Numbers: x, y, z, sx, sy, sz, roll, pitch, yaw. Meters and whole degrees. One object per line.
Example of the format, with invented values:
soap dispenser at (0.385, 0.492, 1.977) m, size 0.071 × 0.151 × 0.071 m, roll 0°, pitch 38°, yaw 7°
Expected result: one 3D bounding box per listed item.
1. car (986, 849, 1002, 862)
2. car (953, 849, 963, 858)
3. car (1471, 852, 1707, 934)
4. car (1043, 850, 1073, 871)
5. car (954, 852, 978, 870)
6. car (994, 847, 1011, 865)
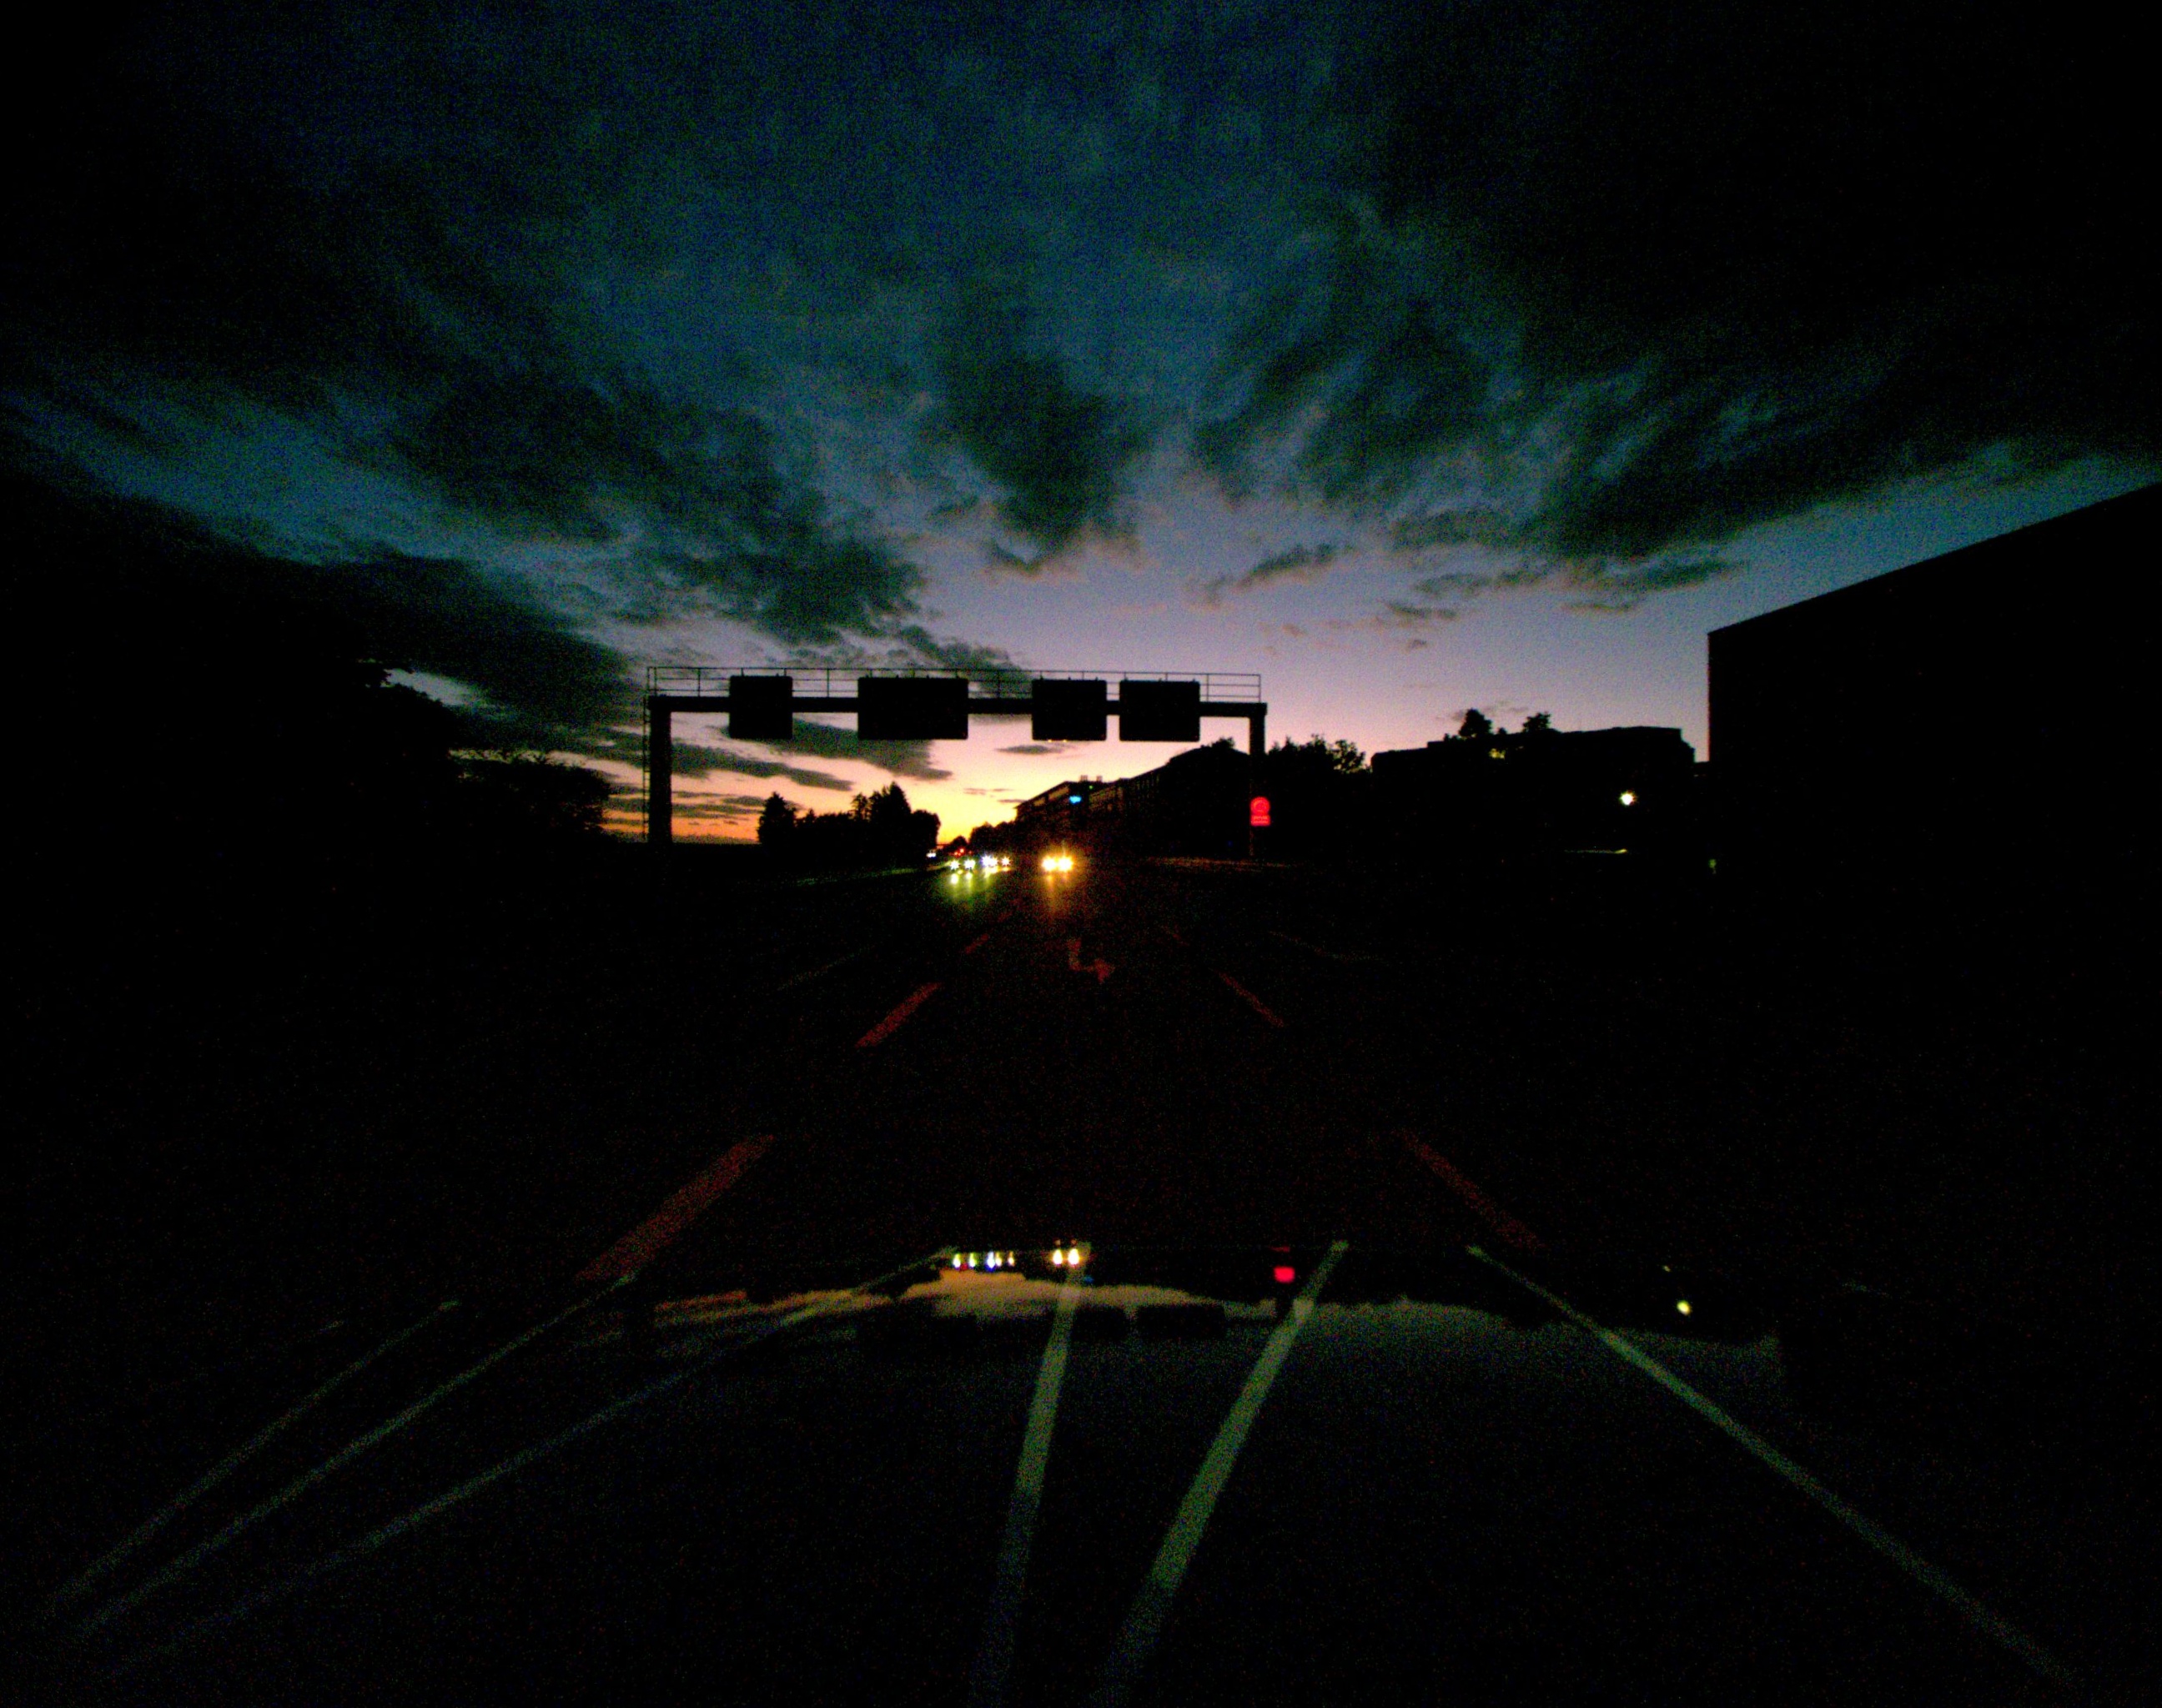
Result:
car at (-11.942, 0.219, 104.260) m, size 1.834 × 1.740 × 3.847 m, roll -3°, pitch 0°, yaw -10°
car at (-23.154, -0.059, 142.786) m, size 1.857 × 1.612 × 3.997 m, roll -2°, pitch 0°, yaw -9°
car at (10.700, 0.724, 16.549) m, size 1.999 × 1.473 × 4.681 m, roll -1°, pitch 0°, yaw 0°
car at (-1.780, 0.496, 57.656) m, size 1.757 × 1.447 × 3.800 m, roll -3°, pitch 1°, yaw -10°
car at (-11.186, 0.666, 73.903) m, size 1.999 × 1.575 × 3.998 m, roll -2°, pitch 1°, yaw -5°
car at (-9.512, 0.194, 92.578) m, size 1.863 × 2.002 × 3.998 m, roll -3°, pitch 1°, yaw -5°
